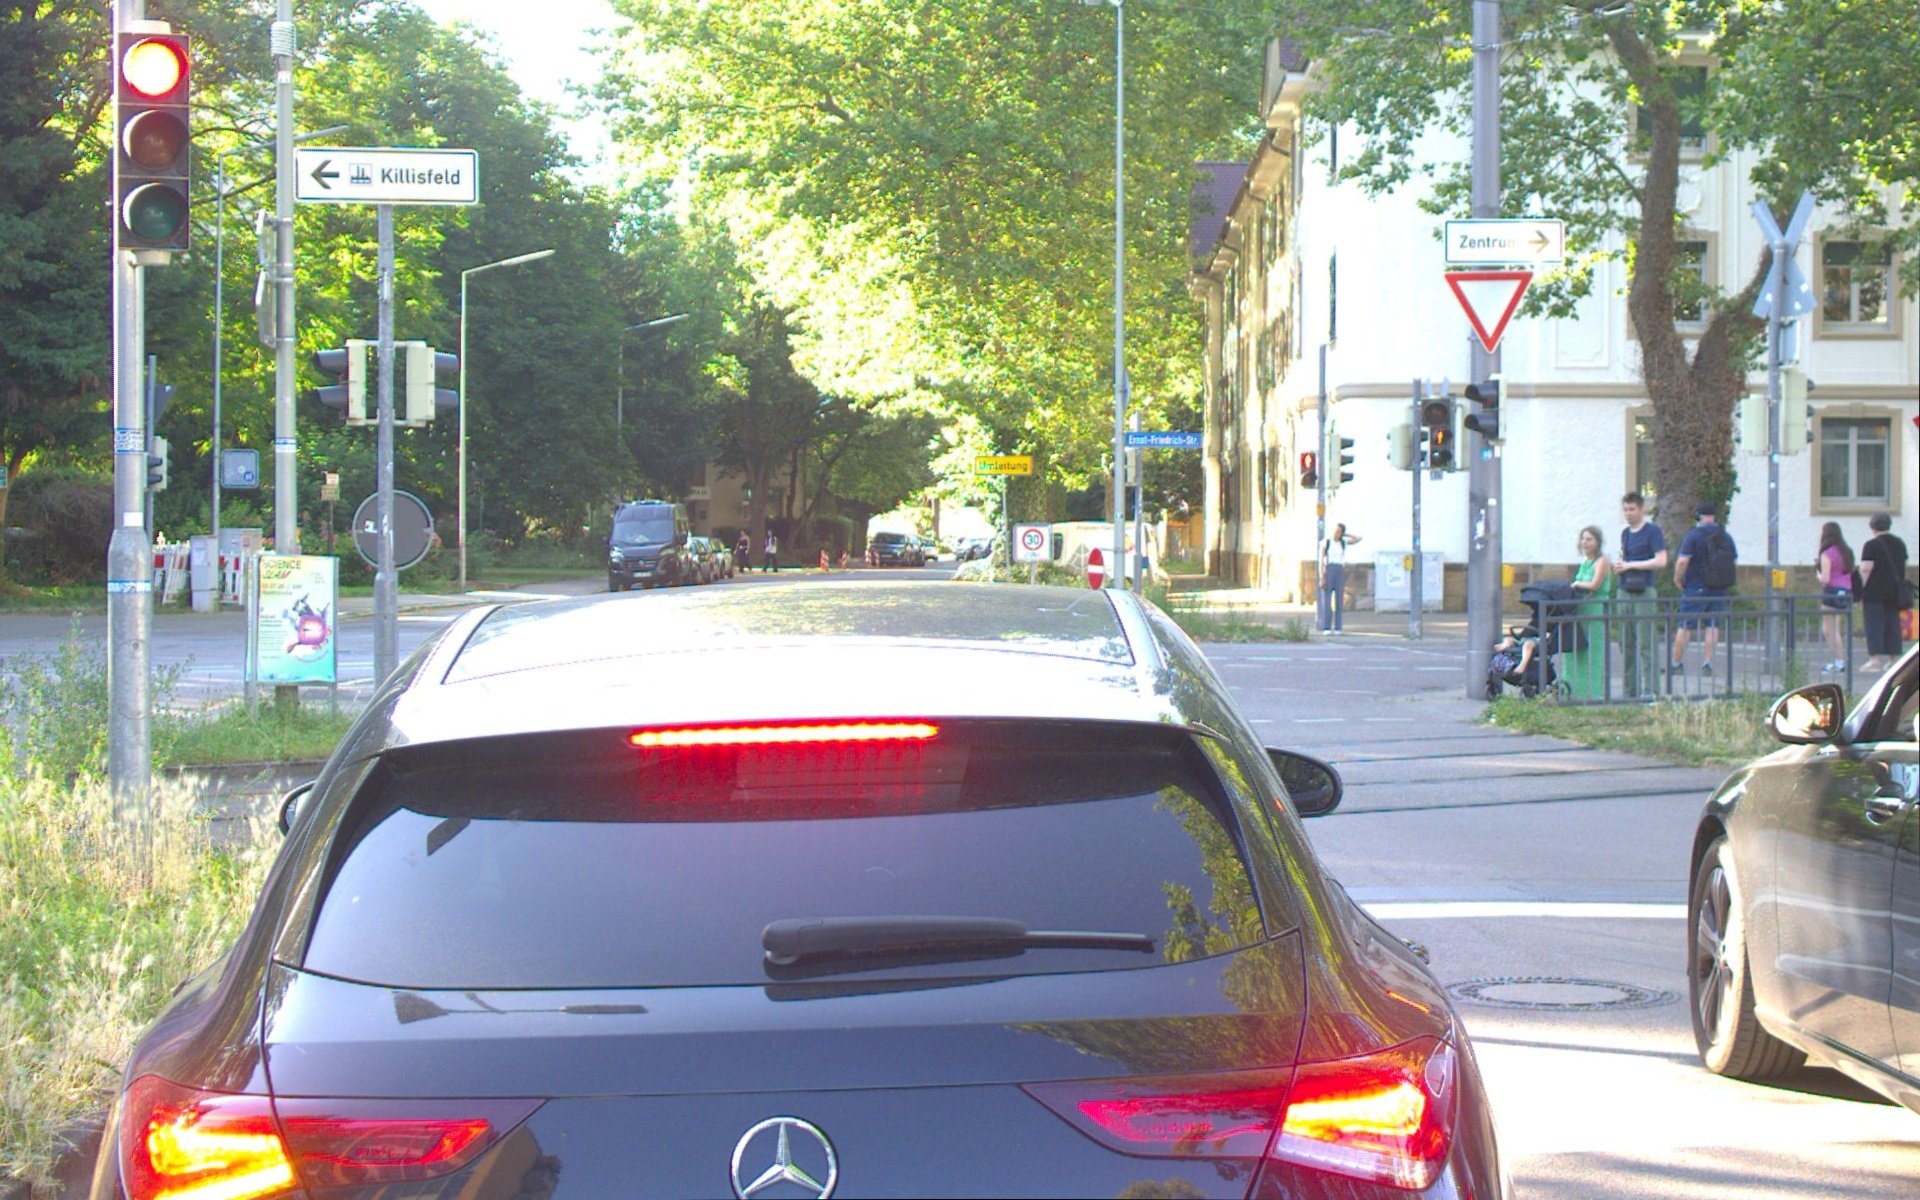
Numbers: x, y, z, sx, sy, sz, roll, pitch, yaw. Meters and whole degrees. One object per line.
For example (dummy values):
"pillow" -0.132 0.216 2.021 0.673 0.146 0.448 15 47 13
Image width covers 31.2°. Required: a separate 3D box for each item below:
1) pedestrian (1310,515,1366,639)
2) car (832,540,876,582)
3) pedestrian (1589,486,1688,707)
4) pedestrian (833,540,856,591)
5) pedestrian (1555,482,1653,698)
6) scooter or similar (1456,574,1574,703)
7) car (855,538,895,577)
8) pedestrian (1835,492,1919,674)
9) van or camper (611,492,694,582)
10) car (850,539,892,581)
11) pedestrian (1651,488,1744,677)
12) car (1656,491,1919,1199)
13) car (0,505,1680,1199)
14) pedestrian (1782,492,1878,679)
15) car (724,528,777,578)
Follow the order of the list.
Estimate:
"pedestrian" 5.934 -0.364 54.022 0.705 1.911 0.839 1 0 -4
"car" -4.481 -1.643 145.500 1.733 1.759 4.019 1 1 -1
"pedestrian" 5.940 -0.032 30.121 0.682 1.911 0.707 1 0 -2
"pedestrian" -4.367 -1.322 130.029 0.705 1.911 0.839 1 0 -10
"pedestrian" 5.782 -0.095 30.893 0.682 1.911 0.707 1 0 -4
"scooter or similar" 4.862 0.330 30.168 0.828 1.101 0.809 1 0 -6
"car" -3.900 -1.967 158.468 1.733 1.759 4.019 1 1 -1
"pedestrian" 9.831 -0.178 36.671 0.705 1.911 0.839 1 0 -4
"van or camper" -8.884 -1.800 99.740 1.993 2.532 4.651 1 1 0
"car" -3.878 -1.745 150.385 1.733 1.759 4.019 1 1 -1
"pedestrian" 7.569 -0.179 35.313 0.705 1.911 0.839 1 0 -4
"car" 2.886 0.570 7.320 1.889 1.485 4.382 1 3 0
"car" -0.220 0.637 5.424 1.889 1.445 4.001 1 3 1
"pedestrian" 9.021 -0.149 35.672 0.705 1.911 0.839 1 0 -4
"car" -7.685 -1.716 126.332 1.733 1.759 3.971 1 1 -1
